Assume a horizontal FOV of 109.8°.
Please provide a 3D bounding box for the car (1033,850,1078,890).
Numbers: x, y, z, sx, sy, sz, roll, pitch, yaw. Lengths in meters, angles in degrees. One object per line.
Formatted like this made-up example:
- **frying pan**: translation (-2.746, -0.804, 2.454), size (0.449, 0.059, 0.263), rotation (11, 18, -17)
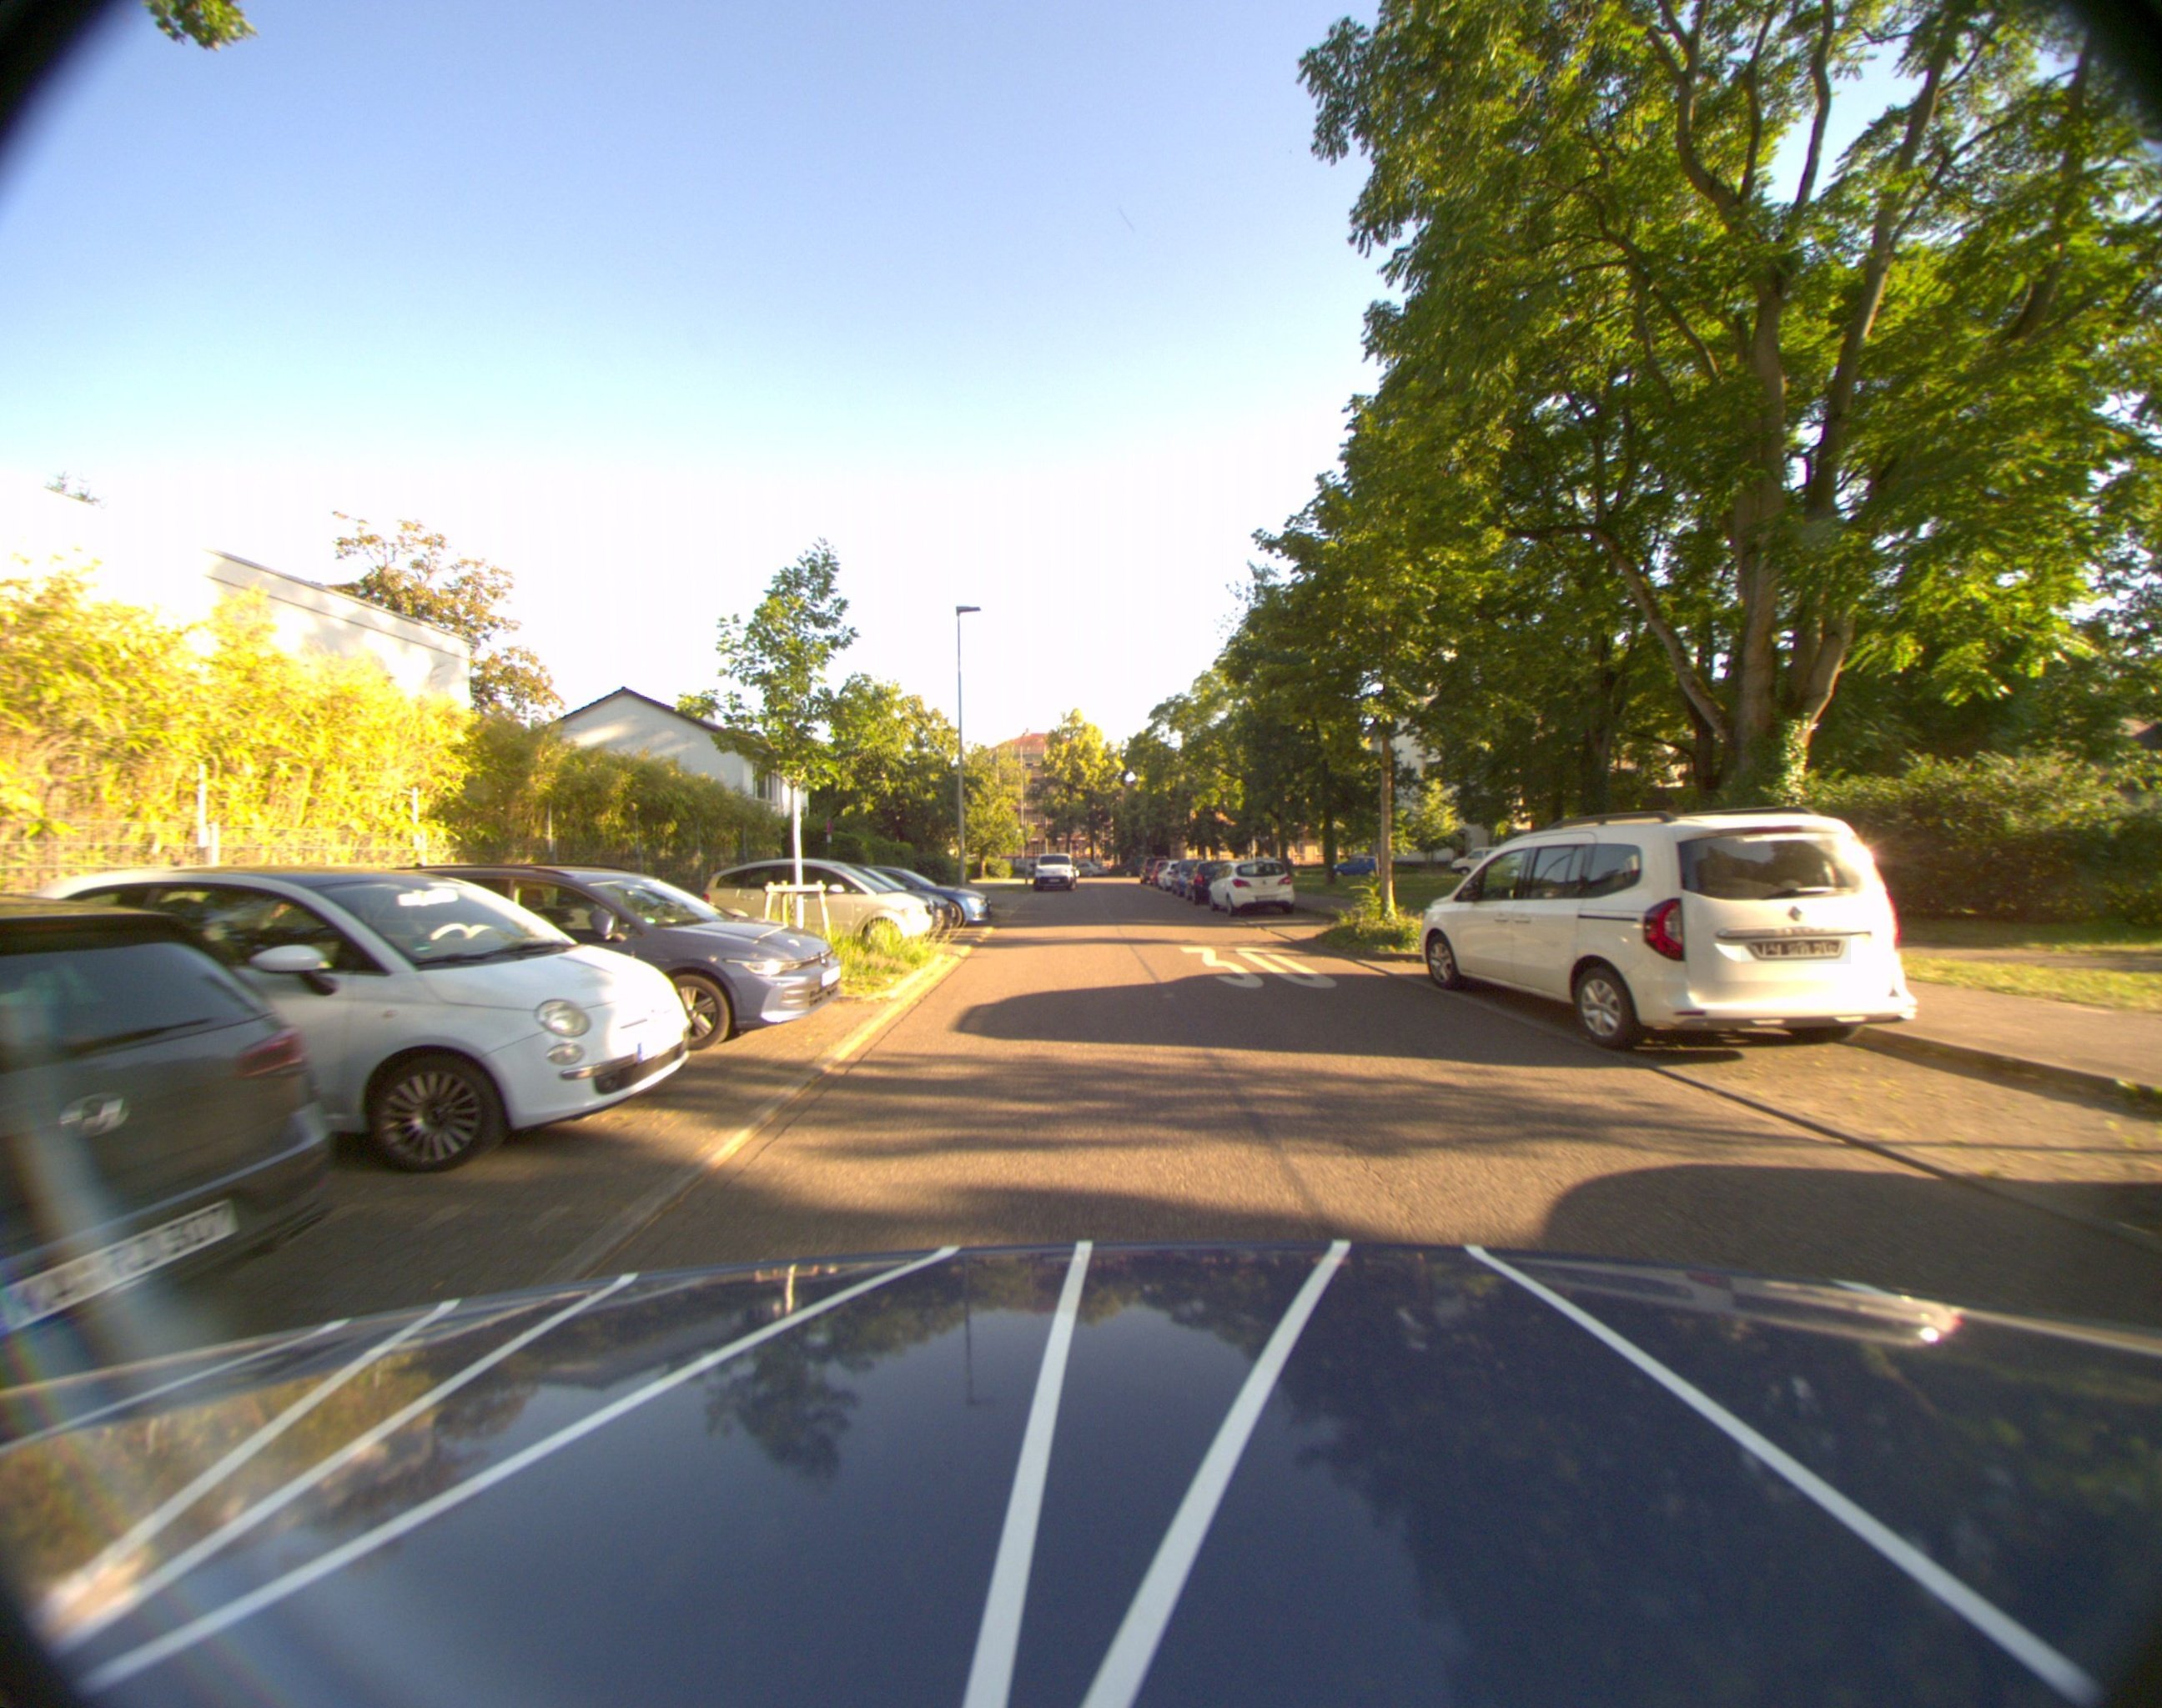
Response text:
- **car**: translation (-1.238, 0.787, 39.203), size (2.059, 1.919, 4.449), rotation (-1, 0, 1)

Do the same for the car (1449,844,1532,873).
- **car**: translation (27.610, 0.318, 51.314), size (4.760, 1.905, 1.800), rotation (-1, 0, 34)

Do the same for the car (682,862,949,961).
- **car**: translation (-4.320, 0.929, 12.846), size (3.922, 1.528, 1.745), rotation (0, 0, -3)

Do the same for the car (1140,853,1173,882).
- **car**: translation (4.710, 0.823, 47.725), size (1.716, 1.673, 3.679), rotation (-1, 0, 1)

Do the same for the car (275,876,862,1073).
- **car**: translation (-4.305, 0.967, 6.874), size (4.096, 1.448, 1.811), rotation (0, 0, 1)

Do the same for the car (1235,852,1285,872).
- **car**: translation (14.298, 0.630, 60.737), size (3.565, 1.489, 1.692), rotation (-1, 0, 34)

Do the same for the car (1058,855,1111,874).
- **car**: translation (0.314, 0.981, 70.984), size (4.500, 1.673, 2.291), rotation (-1, -3, 36)

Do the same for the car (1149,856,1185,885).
- **car**: translation (4.887, 0.907, 43.463), size (1.716, 1.500, 3.679), rotation (-1, 0, 1)

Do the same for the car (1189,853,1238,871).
- **car**: translation (11.044, 0.674, 63.309), size (3.565, 1.489, 1.692), rotation (-1, 0, 34)

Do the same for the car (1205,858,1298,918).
- **car**: translation (4.664, 0.882, 21.200), size (1.717, 1.500, 3.309), rotation (-1, 0, -2)

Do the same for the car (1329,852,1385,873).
- **car**: translation (20.466, 0.622, 56.340), size (3.565, 1.489, 1.678), rotation (-1, 0, 34)

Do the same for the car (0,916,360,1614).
- **car**: translation (-4.458, 0.946, 1.737), size (3.997, 1.507, 1.645), rotation (1, 0, -1)

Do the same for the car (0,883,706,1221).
- **car**: translation (-4.223, 0.948, 4.326), size (3.354, 1.482, 1.637), rotation (0, 0, -2)

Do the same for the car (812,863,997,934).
- **car**: translation (-3.999, 0.998, 17.681), size (3.922, 1.528, 1.745), rotation (0, 0, -3)

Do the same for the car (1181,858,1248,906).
- **car**: translation (4.571, 0.912, 26.453), size (1.716, 1.500, 3.679), rotation (-1, 0, 1)

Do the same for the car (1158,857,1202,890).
- **car**: translation (4.765, 0.915, 37.143), size (1.716, 1.500, 3.679), rotation (-1, 0, 1)

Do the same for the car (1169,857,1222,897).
- **car**: translation (4.691, 0.913, 31.544), size (1.716, 1.500, 3.679), rotation (-1, 0, 1)

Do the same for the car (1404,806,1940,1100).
- **car**: translation (4.879, 0.670, 7.232), size (1.761, 1.905, 4.238), rotation (-2, 0, 0)

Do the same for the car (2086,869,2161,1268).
- **car**: translation (5.128, 0.821, 0.758), size (1.866, 1.549, 4.838), rotation (-1, 0, 0)

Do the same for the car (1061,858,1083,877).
- **car**: translation (-0.760, 1.076, 62.366), size (1.782, 1.526, 4.346), rotation (-1, 0, -1)

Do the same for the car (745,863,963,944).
- **car**: translation (-4.479, 0.961, 15.458), size (3.922, 1.528, 1.745), rotation (0, 0, -3)
